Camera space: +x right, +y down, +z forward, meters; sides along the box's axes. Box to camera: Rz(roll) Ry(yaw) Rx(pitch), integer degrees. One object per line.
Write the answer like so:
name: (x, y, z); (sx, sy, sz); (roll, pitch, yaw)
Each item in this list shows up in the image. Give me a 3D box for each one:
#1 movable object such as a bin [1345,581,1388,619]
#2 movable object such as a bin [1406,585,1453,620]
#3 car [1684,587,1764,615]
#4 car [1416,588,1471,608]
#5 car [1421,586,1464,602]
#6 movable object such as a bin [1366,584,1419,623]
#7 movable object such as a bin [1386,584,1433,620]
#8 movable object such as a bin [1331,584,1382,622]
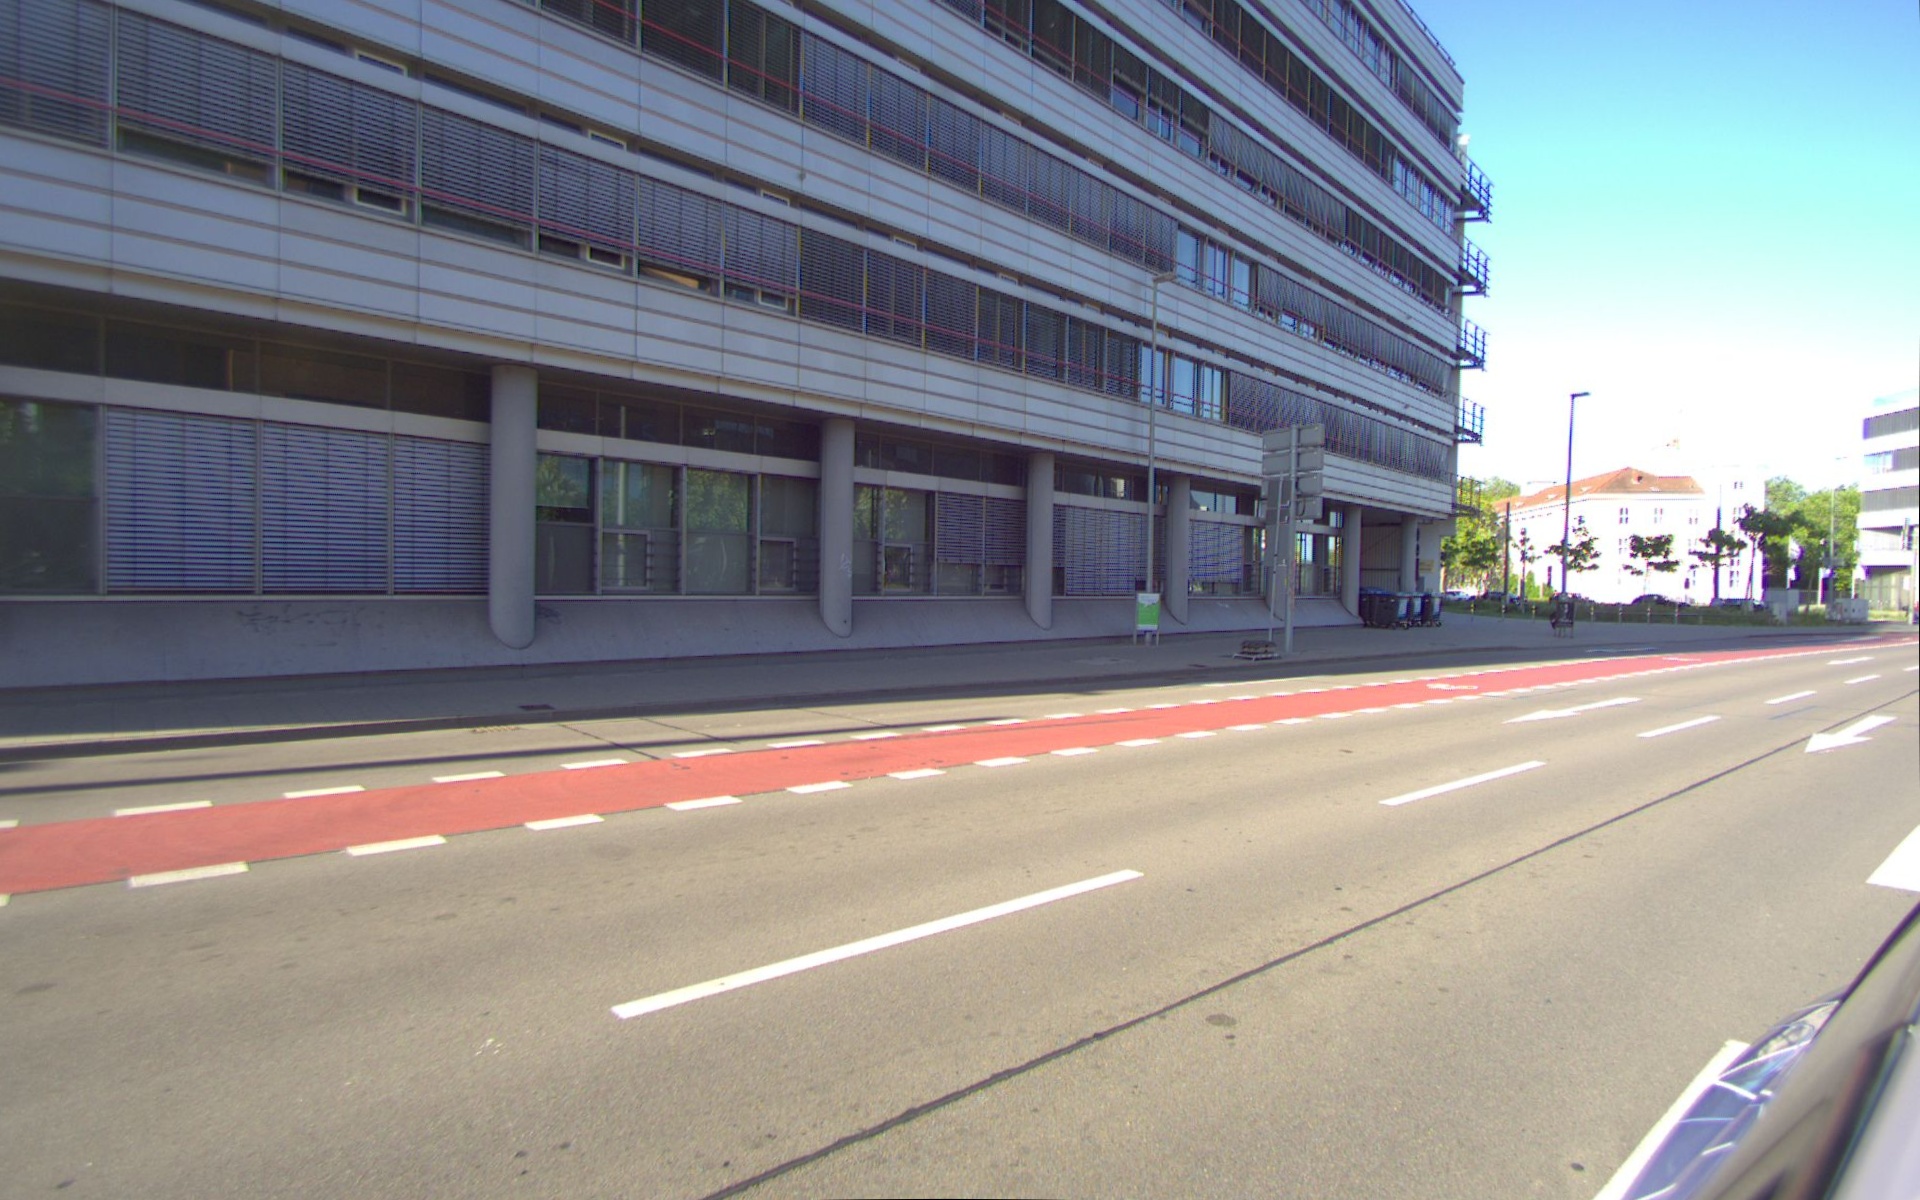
movable object such as a bin: (15.501, -0.011, 38.616); (1.088, 1.391, 1.109); (0, 1, -40)
movable object such as a bin: (18.229, 0.083, 39.295); (1.305, 1.317, 1.173); (0, 2, -40)
car: (45.845, 0.037, 60.835); (1.706, 1.551, 3.806); (1, 1, -4)
car: (39.957, -0.161, 83.766); (1.705, 1.551, 3.807); (0, 2, -28)
car: (49.278, -0.606, 103.304); (3.773, 1.551, 1.720); (2, 2, 32)
movable object such as a bin: (15.323, 0.108, 35.868); (1.153, 1.317, 1.327); (0, 2, -40)
movable object such as a bin: (17.114, 0.067, 38.569); (1.305, 1.317, 1.173); (0, 2, -40)
movable object such as a bin: (14.454, 0.100, 36.919); (1.153, 1.317, 1.327); (0, 2, -40)
